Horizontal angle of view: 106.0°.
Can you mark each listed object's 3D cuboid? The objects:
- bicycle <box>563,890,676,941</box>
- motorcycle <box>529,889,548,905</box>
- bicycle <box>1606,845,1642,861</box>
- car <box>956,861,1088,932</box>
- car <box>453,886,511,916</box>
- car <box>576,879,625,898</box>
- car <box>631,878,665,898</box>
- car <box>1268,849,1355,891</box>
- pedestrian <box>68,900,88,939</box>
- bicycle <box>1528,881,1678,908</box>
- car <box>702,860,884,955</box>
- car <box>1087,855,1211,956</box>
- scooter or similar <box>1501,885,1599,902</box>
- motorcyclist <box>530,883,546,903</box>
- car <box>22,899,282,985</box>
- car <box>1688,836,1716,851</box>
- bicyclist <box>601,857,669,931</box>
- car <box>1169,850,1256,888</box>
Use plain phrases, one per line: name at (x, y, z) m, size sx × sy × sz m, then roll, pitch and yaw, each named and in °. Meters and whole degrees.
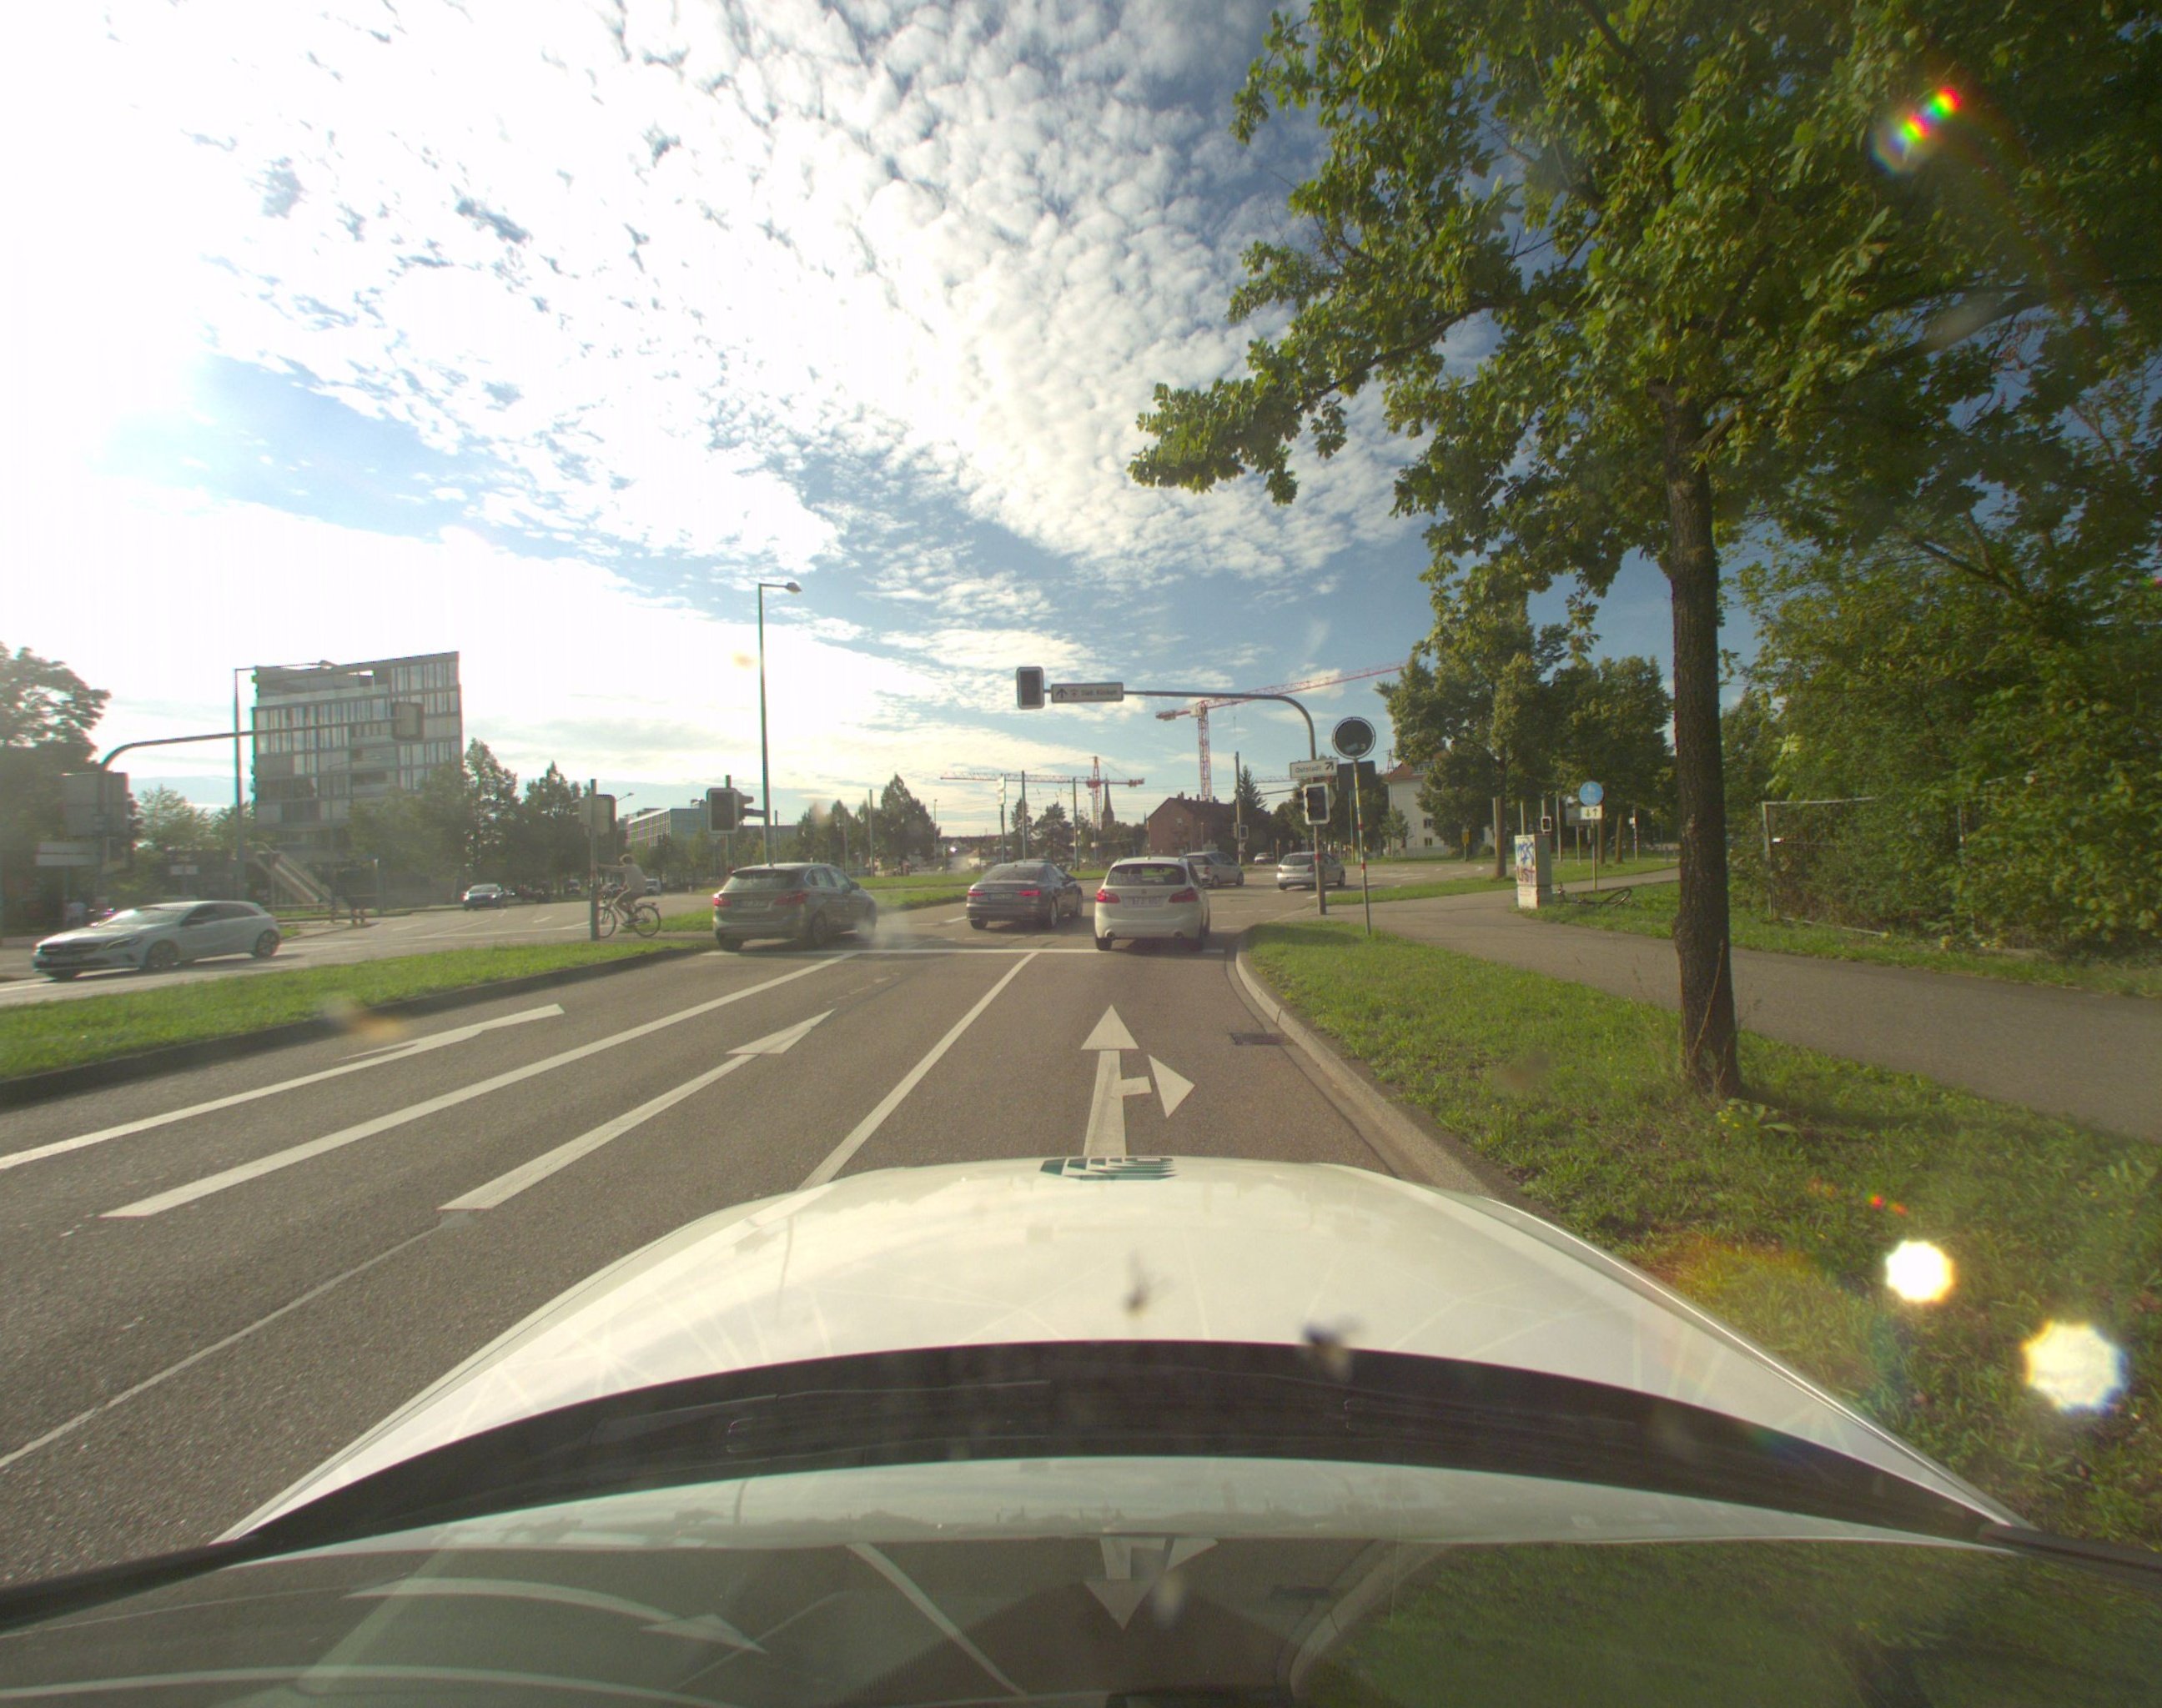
bicycle at (-10.290, 1.358, 18.209) m, size 1.945 × 1.007 × 1.004 m, roll -2°, pitch -1°, yaw 6°
motorcycle at (-38.724, 3.056, 58.140) m, size 0.786 × 0.986 × 2.007 m, roll -1°, pitch 1°, yaw -25°
bicycle at (47.141, -0.089, 70.713) m, size 2.511 × 1.222 × 0.714 m, roll -3°, pitch -1°, yaw 1°
car at (-1.223, 0.911, 19.256) m, size 1.838 × 1.445 × 4.730 m, roll -1°, pitch -1°, yaw 12°
car at (-34.667, 2.692, 47.273) m, size 1.786 × 1.501 × 3.962 m, roll -4°, pitch 0°, yaw -24°
car at (-41.006, 2.944, 69.611) m, size 1.757 × 1.420 × 4.000 m, roll -2°, pitch -1°, yaw 1°
car at (-42.753, 3.328, 80.481) m, size 1.682 × 1.825 × 4.540 m, roll -4°, pitch 0°, yaw -13°
car at (9.253, 0.590, 32.419) m, size 1.832 × 1.426 × 4.484 m, roll -1°, pitch 1°, yaw 37°
pedestrian at (-42.777, 2.782, 34.731) m, size 0.541 × 1.625 × 0.509 m, roll -3°, pitch -1°, yaw 41°
bicycle at (10.143, 0.771, 15.930) m, size 1.094 × 0.346 × 2.228 m, roll -1°, pitch 2°, yaw -32°
car at (-5.377, 0.927, 15.815) m, size 1.759 × 1.572 × 4.072 m, roll -1°, pitch -1°, yaw 5°
car at (1.409, 0.833, 14.990) m, size 1.839 × 1.572 × 4.467 m, roll -1°, pitch -1°, yaw 10°
scooter or similar at (10.828, 0.907, 18.820) m, size 1.555 × 0.281 × 1.283 m, roll -2°, pitch -1°, yaw -23°
motorcyclist at (-38.674, 2.768, 58.014) m, size 0.786 × 1.366 × 0.935 m, roll -2°, pitch -1°, yaw -25°
car at (-20.153, 1.832, 17.957) m, size 1.681 × 1.434 × 3.977 m, roll -2°, pitch -1°, yaw -12°
car at (63.142, -1.041, 82.822) m, size 1.837 × 1.359 × 4.763 m, roll -3°, pitch -1°, yaw 32°
bicyclist at (-9.935, 0.873, 18.174) m, size 0.858 × 1.556 × 0.999 m, roll -2°, pitch -1°, yaw 6°
car at (5.791, 0.635, 35.501) m, size 1.832 × 1.478 × 4.483 m, roll -2°, pitch 0°, yaw 36°
